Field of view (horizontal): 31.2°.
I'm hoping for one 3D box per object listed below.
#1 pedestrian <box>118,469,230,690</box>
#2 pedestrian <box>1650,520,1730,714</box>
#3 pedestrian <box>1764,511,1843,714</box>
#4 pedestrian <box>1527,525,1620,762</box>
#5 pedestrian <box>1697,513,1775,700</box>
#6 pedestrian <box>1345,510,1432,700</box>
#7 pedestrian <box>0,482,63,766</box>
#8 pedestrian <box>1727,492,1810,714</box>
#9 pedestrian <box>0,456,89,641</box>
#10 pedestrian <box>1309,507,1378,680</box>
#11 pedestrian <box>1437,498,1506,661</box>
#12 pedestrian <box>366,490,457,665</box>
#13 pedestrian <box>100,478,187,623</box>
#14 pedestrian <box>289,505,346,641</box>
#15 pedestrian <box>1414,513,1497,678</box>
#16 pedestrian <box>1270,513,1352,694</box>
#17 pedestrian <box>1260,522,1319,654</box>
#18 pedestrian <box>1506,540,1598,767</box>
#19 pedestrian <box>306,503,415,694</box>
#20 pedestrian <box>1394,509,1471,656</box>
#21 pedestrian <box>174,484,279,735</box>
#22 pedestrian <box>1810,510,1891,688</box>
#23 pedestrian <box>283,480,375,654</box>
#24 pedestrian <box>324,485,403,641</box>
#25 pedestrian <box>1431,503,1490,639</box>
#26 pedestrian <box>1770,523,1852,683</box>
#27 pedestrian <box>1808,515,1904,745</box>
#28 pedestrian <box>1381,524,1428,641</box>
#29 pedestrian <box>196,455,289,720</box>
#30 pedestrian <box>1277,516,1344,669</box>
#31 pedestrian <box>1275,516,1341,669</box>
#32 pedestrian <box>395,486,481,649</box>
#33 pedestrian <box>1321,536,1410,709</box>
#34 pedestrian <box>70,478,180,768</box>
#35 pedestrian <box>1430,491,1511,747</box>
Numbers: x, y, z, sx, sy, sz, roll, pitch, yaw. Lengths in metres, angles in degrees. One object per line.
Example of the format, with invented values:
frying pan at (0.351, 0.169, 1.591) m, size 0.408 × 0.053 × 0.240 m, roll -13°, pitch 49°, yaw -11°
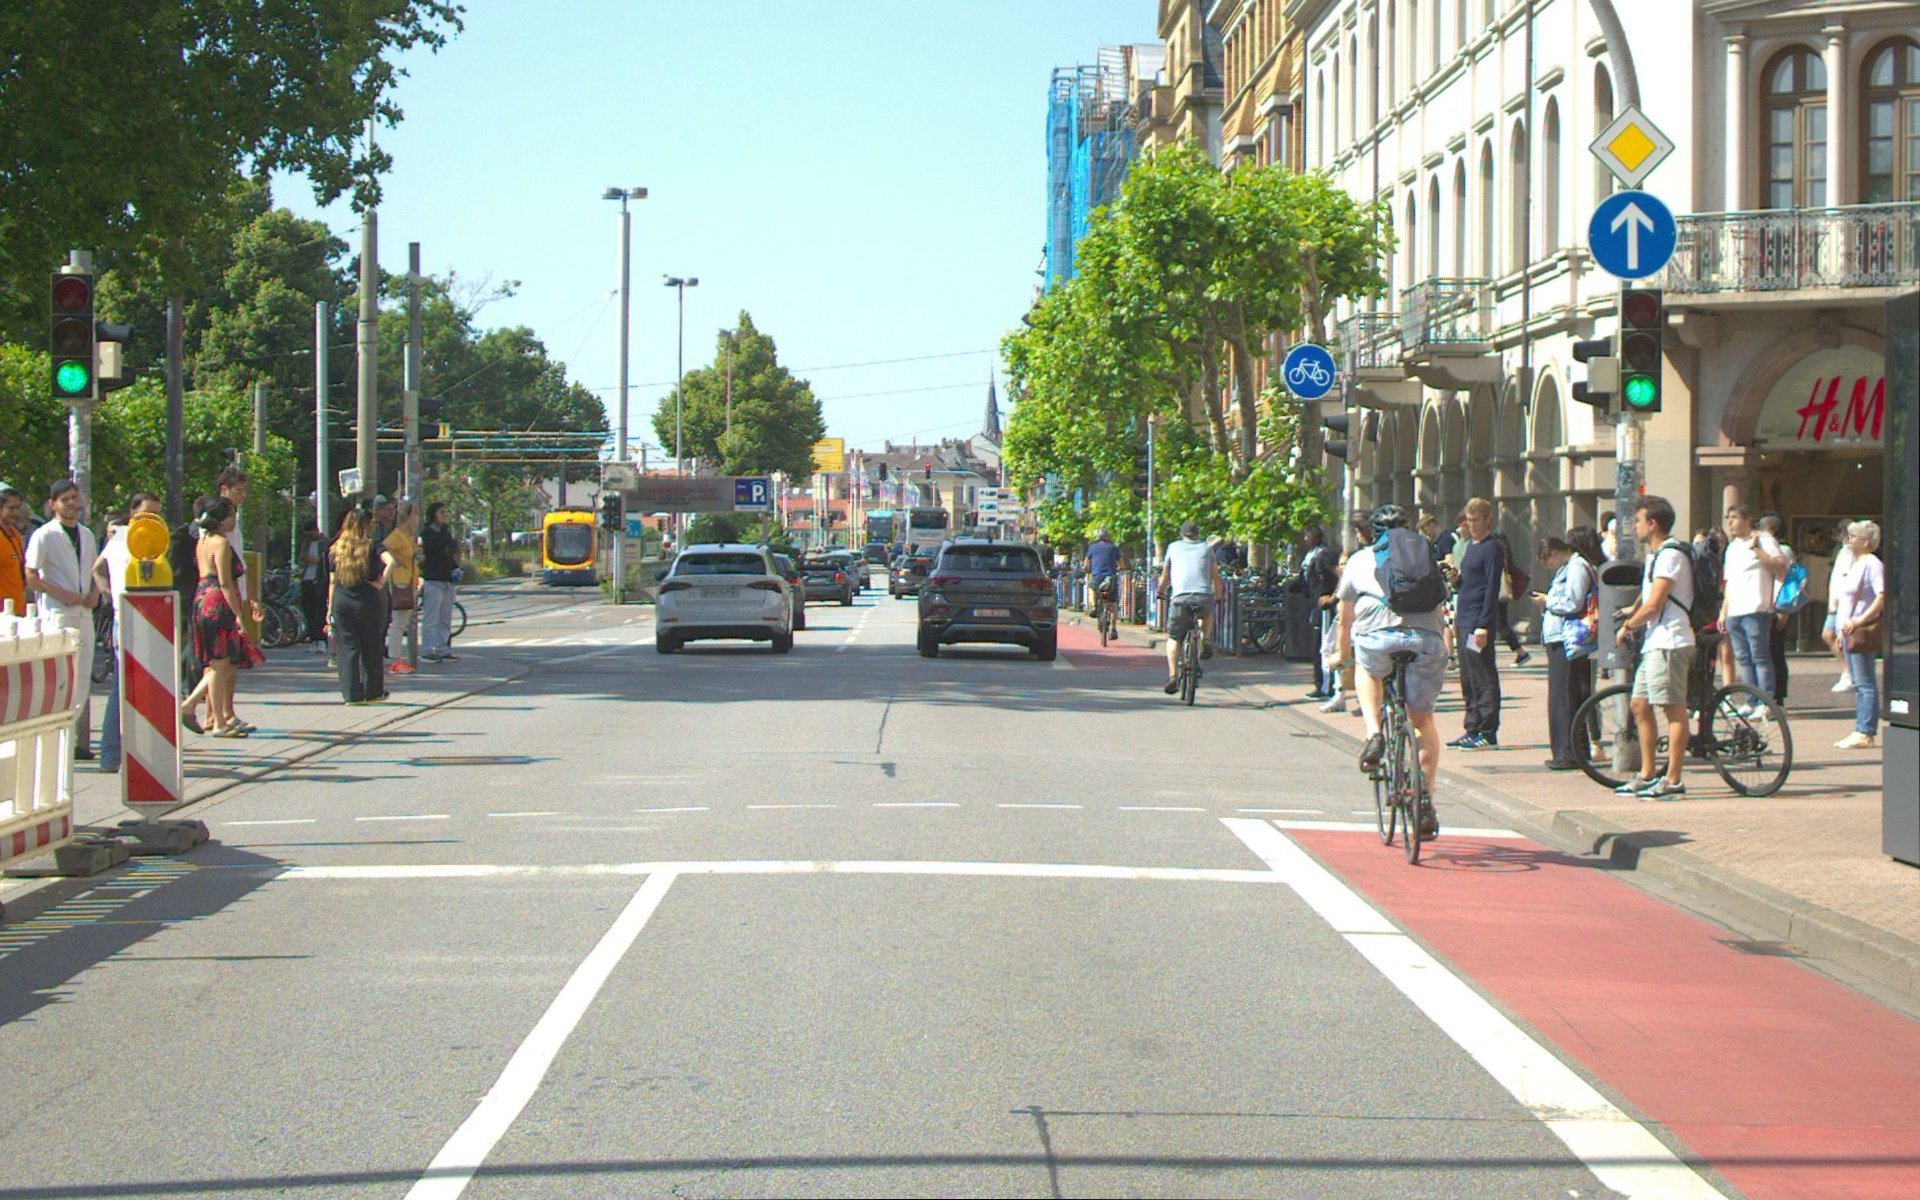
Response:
pedestrian at (-6.672, -0.179, 29.184) m, size 0.633 × 1.852 × 0.686 m, roll 1°, pitch 1°, yaw 20°
pedestrian at (6.136, 0.138, 28.922) m, size 0.522 × 1.606 × 0.641 m, roll -1°, pitch 0°, yaw 0°
pedestrian at (7.145, 0.101, 29.127) m, size 0.522 × 1.697 × 0.536 m, roll -1°, pitch 0°, yaw 0°
pedestrian at (4.263, 0.296, 23.900) m, size 0.549 × 1.625 × 0.589 m, roll -1°, pitch 0°, yaw 3°
pedestrian at (6.731, 0.050, 29.838) m, size 0.522 × 1.603 × 0.641 m, roll -1°, pitch 0°, yaw 0°
pedestrian at (4.074, 0.045, 32.697) m, size 0.610 × 1.753 × 0.678 m, roll -4°, pitch 1°, yaw -2°
pedestrian at (-5.868, 0.140, 21.008) m, size 0.539 × 1.712 × 0.606 m, roll 2°, pitch 1°, yaw -32°
pedestrian at (6.710, 0.024, 28.545) m, size 0.522 × 1.817 × 0.641 m, roll -1°, pitch 0°, yaw 0°
pedestrian at (-9.111, -0.511, 34.033) m, size 0.633 × 1.804 × 0.730 m, roll 1°, pitch 1°, yaw 20°
pedestrian at (4.091, -0.074, 36.689) m, size 0.610 × 1.817 × 0.678 m, roll 1°, pitch 0°, yaw -2°
pedestrian at (5.702, -0.229, 38.340) m, size 0.610 × 1.800 × 0.678 m, roll 1°, pitch 0°, yaw -2°
pedestrian at (-5.663, -0.237, 35.535) m, size 0.633 × 1.788 × 0.730 m, roll 1°, pitch 1°, yaw 20°
pedestrian at (-10.025, -0.604, 42.222) m, size 0.679 × 1.758 × 0.765 m, roll 1°, pitch 1°, yaw 29°
pedestrian at (-8.214, -0.348, 43.986) m, size 0.610 × 1.719 × 0.678 m, roll 1°, pitch 0°, yaw -2°
pedestrian at (5.628, -0.053, 39.089) m, size 0.610 × 1.800 × 0.678 m, roll -7°, pitch 1°, yaw -2°
pedestrian at (3.473, 0.033, 34.017) m, size 0.610 × 1.733 × 0.678 m, roll -4°, pitch 1°, yaw -2°
pedestrian at (4.098, -0.156, 42.733) m, size 0.531 × 1.589 × 0.611 m, roll 1°, pitch 4°, yaw 26°
pedestrian at (4.003, 0.354, 23.259) m, size 0.523 × 1.516 × 0.641 m, roll -1°, pitch 0°, yaw 3°
pedestrian at (-5.067, -0.020, 29.060) m, size 0.633 × 1.590 × 0.686 m, roll 1°, pitch 1°, yaw 20°
pedestrian at (5.527, -0.217, 40.221) m, size 0.610 × 1.699 × 0.678 m, roll -1°, pitch 1°, yaw -28°
pedestrian at (-5.208, 0.062, 24.437) m, size 0.576 × 1.752 × 0.638 m, roll 1°, pitch 0°, yaw 1°
pedestrian at (9.147, -0.016, 35.326) m, size 0.610 × 1.800 × 0.678 m, roll 1°, pitch 0°, yaw -2°
pedestrian at (-6.818, -0.360, 37.160) m, size 0.633 × 1.852 × 0.730 m, roll 1°, pitch 1°, yaw 29°
pedestrian at (-7.027, -0.442, 40.488) m, size 0.618 × 1.817 × 0.662 m, roll 1°, pitch 1°, yaw 29°
pedestrian at (6.634, -0.391, 45.582) m, size 0.675 × 1.785 × 0.612 m, roll 1°, pitch 1°, yaw -1°
pedestrian at (8.773, 0.027, 35.468) m, size 0.610 × 1.613 × 0.678 m, roll 1°, pitch 3°, yaw -2°
pedestrian at (6.471, 0.211, 24.844) m, size 0.549 × 1.634 × 0.589 m, roll -1°, pitch 0°, yaw 3°
pedestrian at (6.866, -0.276, 53.110) m, size 0.628 × 1.785 × 0.612 m, roll 1°, pitch 1°, yaw -1°
pedestrian at (-5.266, -0.093, 25.256) m, size 0.532 × 1.912 × 0.560 m, roll 1°, pitch 0°, yaw 1°
pedestrian at (3.896, -0.090, 38.231) m, size 0.582 × 1.668 × 0.605 m, roll -3°, pitch 1°, yaw -2°
pedestrian at (3.934, -0.092, 38.883) m, size 0.582 × 1.694 × 0.605 m, roll -3°, pitch 1°, yaw -2°
pedestrian at (-5.916, -0.368, 39.001) m, size 0.633 × 1.828 × 0.730 m, roll 1°, pitch 1°, yaw 29°
pedestrian at (3.648, 0.196, 30.958) m, size 0.610 × 1.510 × 0.678 m, roll -4°, pitch 1°, yaw -2°
pedestrian at (-5.067, 0.134, 20.862) m, size 0.429 × 1.734 × 0.606 m, roll 2°, pitch 1°, yaw -32°
pedestrian at (3.828, 0.138, 25.797) m, size 0.523 × 1.891 × 0.641 m, roll -1°, pitch 0°, yaw 3°
